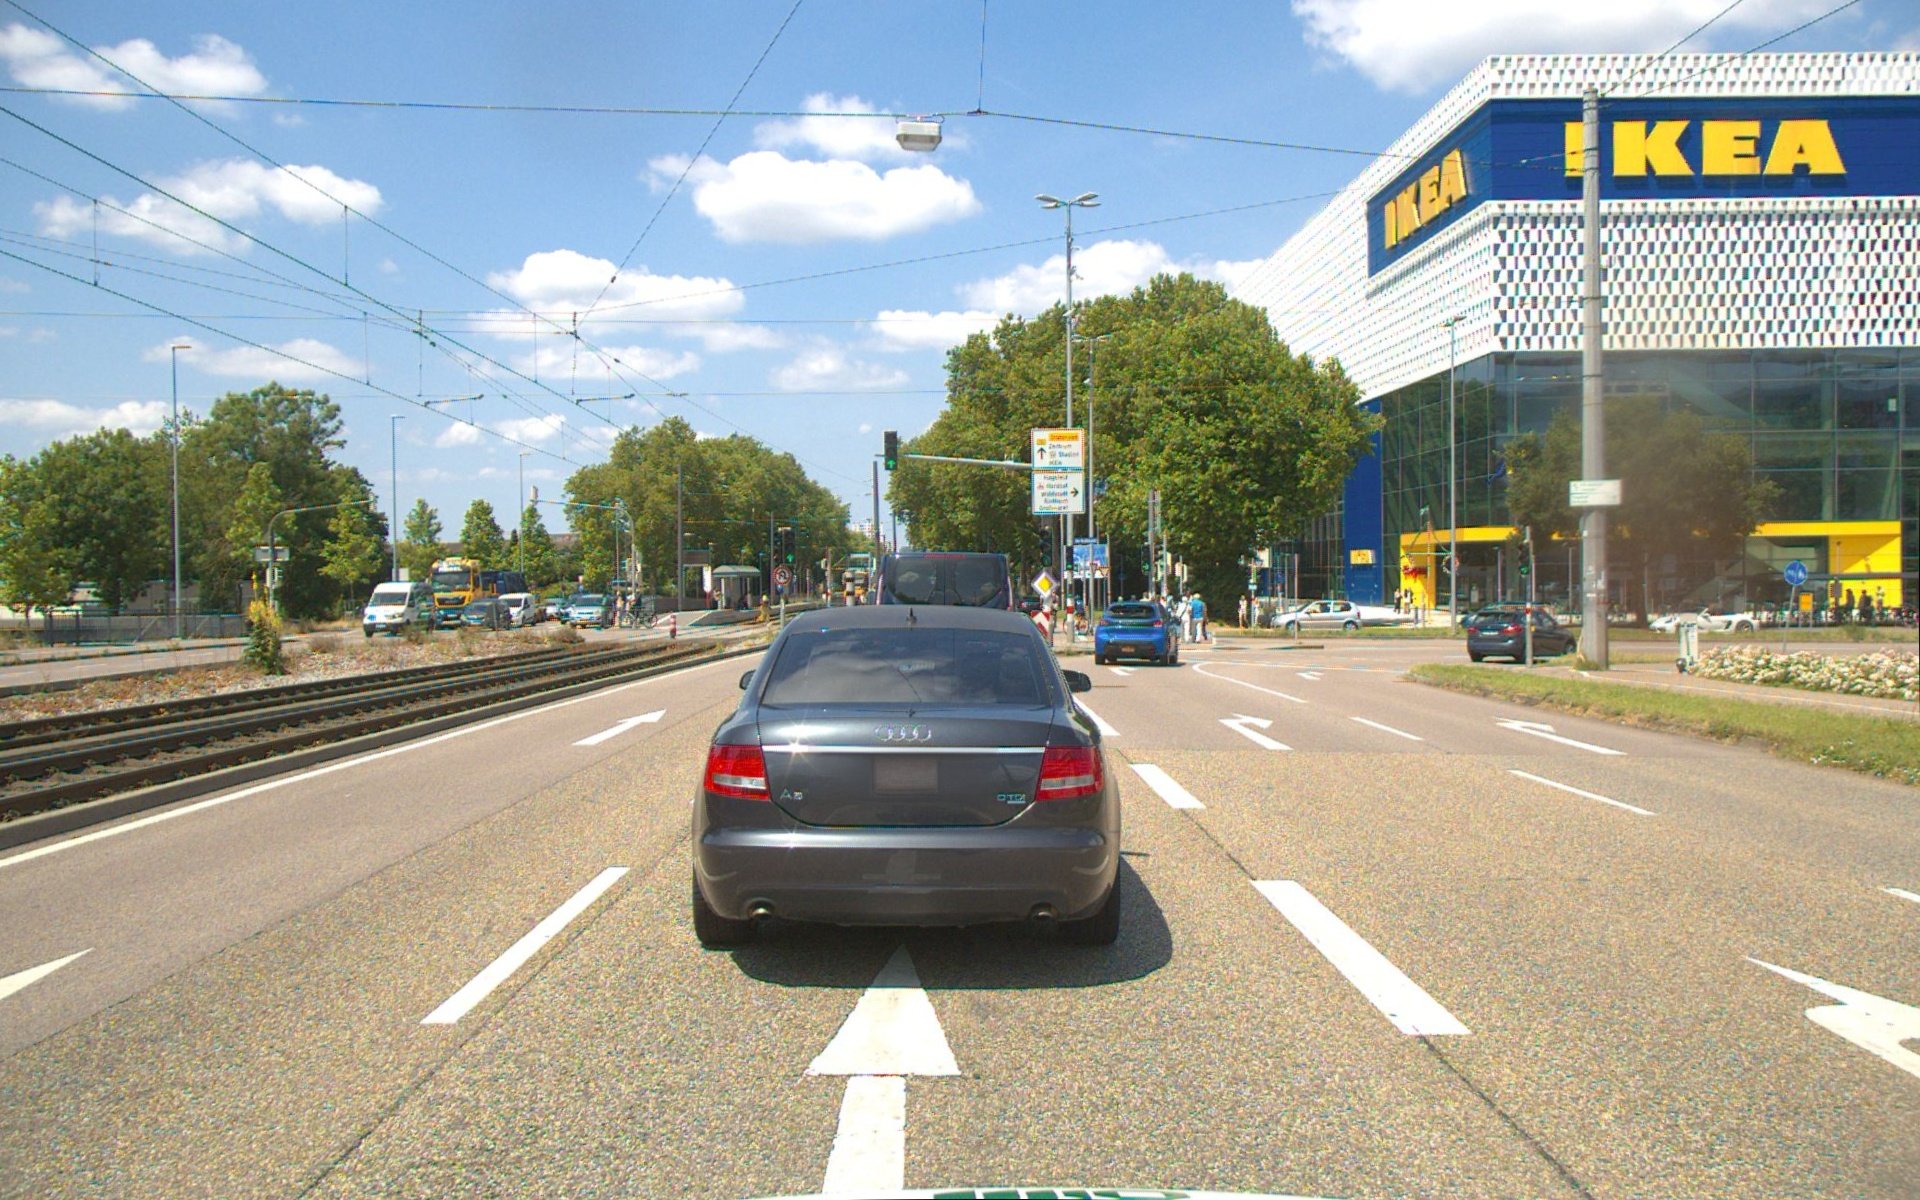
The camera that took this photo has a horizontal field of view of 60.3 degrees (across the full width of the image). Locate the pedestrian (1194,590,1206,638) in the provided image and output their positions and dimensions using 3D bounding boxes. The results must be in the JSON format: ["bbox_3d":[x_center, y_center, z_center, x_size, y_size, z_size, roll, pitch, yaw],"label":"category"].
[{"bbox_3d":[8.344,0.492,57.510,0.389,1.663,0.371,1,0,2],"label":"pedestrian"}]

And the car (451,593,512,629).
[{"bbox_3d":[-24.295,0.532,84.148,1.785,1.699,4.461,1,0,-1],"label":"car"}]

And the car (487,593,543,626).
[{"bbox_3d":[-24.486,0.511,91.175,1.785,1.699,4.461,1,0,1],"label":"car"}]

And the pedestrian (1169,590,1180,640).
[{"bbox_3d":[7.182,0.504,55.377,0.332,1.663,0.377,1,0,2],"label":"pedestrian"}]

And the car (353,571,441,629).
[{"bbox_3d":[-27.579,-0.041,81.232,2.198,2.634,6.233,-2,1,-2],"label":"car"}]

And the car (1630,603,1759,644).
[{"bbox_3d":[30.309,0.951,68.322,4.403,1.512,2.001,2,0,3],"label":"car"}]

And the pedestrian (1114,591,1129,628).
[{"bbox_3d":[6.883,0.390,70.527,0.483,1.546,0.707,0,0,17],"label":"pedestrian"}]

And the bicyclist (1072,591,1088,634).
[{"bbox_3d":[4.709,0.489,64.867,0.518,1.705,1.088,0,0,-1],"label":"bicyclist"}]

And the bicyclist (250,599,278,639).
[{"bbox_3d":[-31.885,0.877,75.757,1.097,1.805,0.340,0,0,-6],"label":"bicyclist"}]

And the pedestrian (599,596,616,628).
[{"bbox_3d":[-16.386,0.551,76.873,0.671,1.468,0.572,0,0,-4],"label":"pedestrian"}]

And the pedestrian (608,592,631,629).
[{"bbox_3d":[-16.420,0.502,79.751,0.806,1.750,0.775,0,0,21],"label":"pedestrian"}]

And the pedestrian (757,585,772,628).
[{"bbox_3d":[-9.353,0.315,79.034,0.672,2.049,0.572,0,0,-5],"label":"pedestrian"}]

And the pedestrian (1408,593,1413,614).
[{"bbox_3d":[28.613,0.220,105.025,0.283,1.366,0.266,0,0,-1],"label":"pedestrian"}]

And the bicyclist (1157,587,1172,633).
[{"bbox_3d":[8.092,0.400,65.426,0.517,1.795,0.828,0,0,13],"label":"bicyclist"}]

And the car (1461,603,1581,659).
[{"bbox_3d":[16.567,0.882,48.741,4.068,1.553,1.738,0,0,-44],"label":"car"}]

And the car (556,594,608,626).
[{"bbox_3d":[-21.630,0.558,94.863,1.784,1.699,4.462,1,0,2],"label":"car"}]

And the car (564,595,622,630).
[{"bbox_3d":[-18.672,0.598,84.289,1.784,1.699,4.462,1,0,2],"label":"car"}]

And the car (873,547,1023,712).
[{"bbox_3d":[-0.174,0.359,21.874,1.799,1.984,3.999,0,0,-1],"label":"car"}]

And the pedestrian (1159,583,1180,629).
[{"bbox_3d":[8.664,0.256,68.520,0.671,1.878,0.706,0,0,25],"label":"pedestrian"}]

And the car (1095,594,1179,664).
[{"bbox_3d":[4.183,0.634,38.681,1.798,1.480,4.003,2,0,8],"label":"car"}]

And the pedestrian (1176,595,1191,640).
[{"bbox_3d":[8.367,0.647,61.907,0.493,1.663,0.449,1,0,2],"label":"pedestrian"}]

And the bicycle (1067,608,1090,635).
[{"bbox_3d":[4.636,0.834,64.704,0.673,1.023,2.751,1,0,0],"label":"bicycle"}]

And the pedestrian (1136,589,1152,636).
[{"bbox_3d":[6.506,0.449,58.472,0.542,1.663,0.433,1,0,2],"label":"pedestrian"}]

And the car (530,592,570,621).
[{"bbox_3d":[-27.870,0.440,112.587,1.781,1.916,3.999,0,0,-1],"label":"car"}]

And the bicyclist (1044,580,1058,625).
[{"bbox_3d":[3.751,0.101,68.028,0.518,1.820,1.088,0,0,0],"label":"bicyclist"}]

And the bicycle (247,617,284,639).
[{"bbox_3d":[-31.788,1.283,75.749,1.461,1.004,0.485,1,0,-5],"label":"bicycle"}]

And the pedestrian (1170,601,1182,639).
[{"bbox_3d":[7.525,0.685,57.577,0.365,1.326,0.365,1,0,2],"label":"pedestrian"}]

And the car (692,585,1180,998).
[{"bbox_3d":[-0.103,0.669,7.969,1.756,1.480,4.000,0,0,-1],"label":"car"}]

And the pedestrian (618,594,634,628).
[{"bbox_3d":[-15.763,0.502,77.993,0.671,1.592,0.572,0,0,-4],"label":"pedestrian"}]

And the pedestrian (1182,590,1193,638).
[{"bbox_3d":[7.910,0.485,57.517,0.314,1.663,0.377,1,0,2],"label":"pedestrian"}]

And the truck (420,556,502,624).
[{"bbox_3d":[-27.972,-0.556,92.960,2.711,3.631,6.438,0,0,-1],"label":"truck"}]

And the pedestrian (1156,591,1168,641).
[{"bbox_3d":[6.761,0.519,55.423,0.373,1.663,0.377,1,0,2],"label":"pedestrian"}]

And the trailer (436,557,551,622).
[{"bbox_3d":[-28.094,-0.612,100.644,2.711,3.580,15.875,0,0,-1],"label":"trailer"}]

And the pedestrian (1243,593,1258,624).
[{"bbox_3d":[14.998,0.439,85.444,0.690,1.571,0.678,0,0,18],"label":"pedestrian"}]

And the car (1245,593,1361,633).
[{"bbox_3d":[14.086,0.515,68.184,4.403,1.512,2.001,2,0,3],"label":"car"}]

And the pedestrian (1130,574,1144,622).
[{"bbox_3d":[6.268,-0.075,58.597,0.435,1.663,0.430,1,0,2],"label":"pedestrian"}]

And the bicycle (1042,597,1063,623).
[{"bbox_3d":[3.816,0.401,68.522,0.673,1.011,2.751,1,0,0],"label":"bicycle"}]

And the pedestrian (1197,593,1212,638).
[{"bbox_3d":[9.147,0.577,61.868,0.510,1.699,0.494,1,0,2],"label":"pedestrian"}]

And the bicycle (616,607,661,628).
[{"bbox_3d":[-14.779,0.789,76.049,2.019,0.941,0.751,0,0,-11],"label":"bicycle"}]
